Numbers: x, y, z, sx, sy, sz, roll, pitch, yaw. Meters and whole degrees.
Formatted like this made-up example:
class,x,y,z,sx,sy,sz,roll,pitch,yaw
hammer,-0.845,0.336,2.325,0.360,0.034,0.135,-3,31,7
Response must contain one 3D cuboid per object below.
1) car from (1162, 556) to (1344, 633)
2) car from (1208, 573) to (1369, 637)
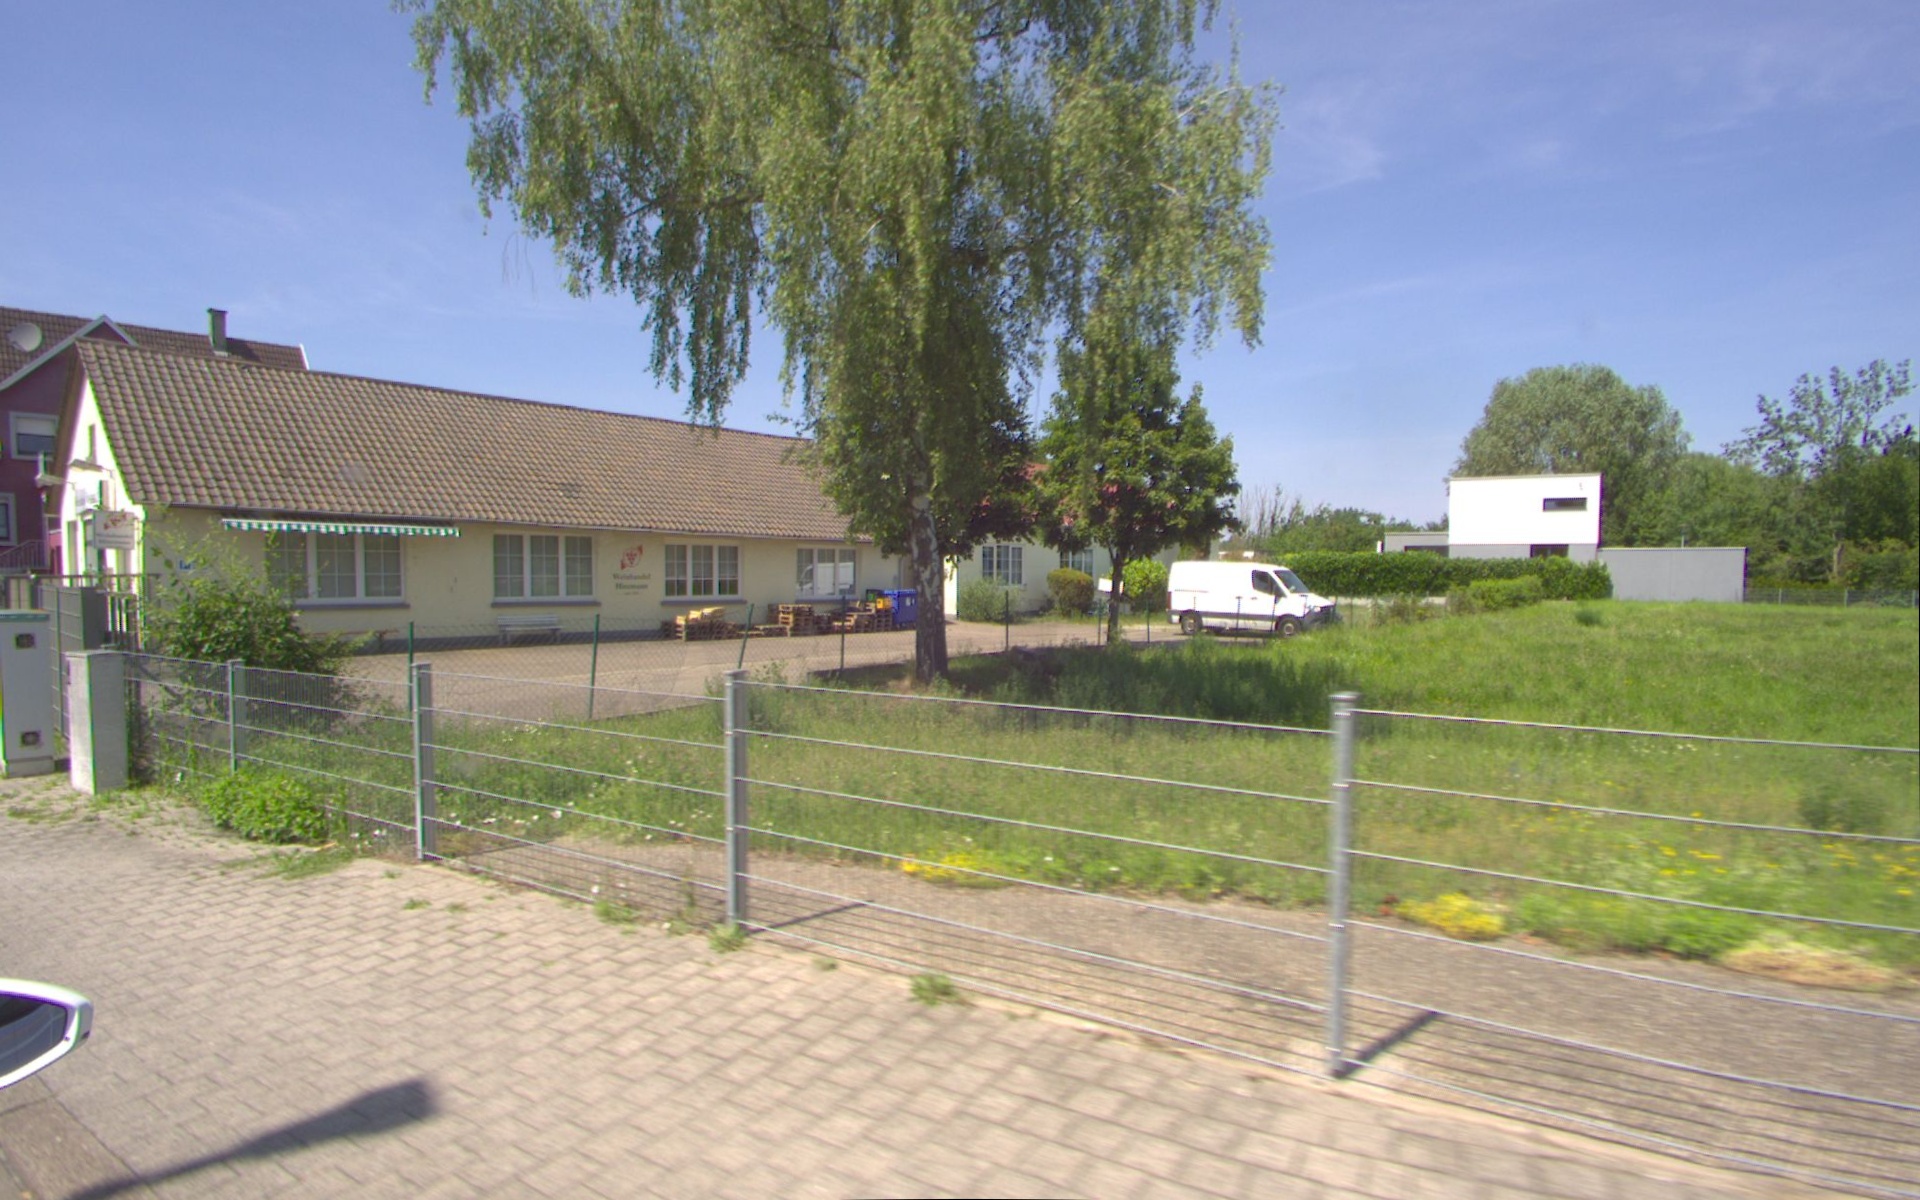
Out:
class,x,y,z,sx,sy,sz,roll,pitch,yaw
car,9.235,-0.168,31.774,5.119,2.231,2.199,0,1,38
car,11.252,0.157,34.432,4.873,2.041,2.054,0,1,39
